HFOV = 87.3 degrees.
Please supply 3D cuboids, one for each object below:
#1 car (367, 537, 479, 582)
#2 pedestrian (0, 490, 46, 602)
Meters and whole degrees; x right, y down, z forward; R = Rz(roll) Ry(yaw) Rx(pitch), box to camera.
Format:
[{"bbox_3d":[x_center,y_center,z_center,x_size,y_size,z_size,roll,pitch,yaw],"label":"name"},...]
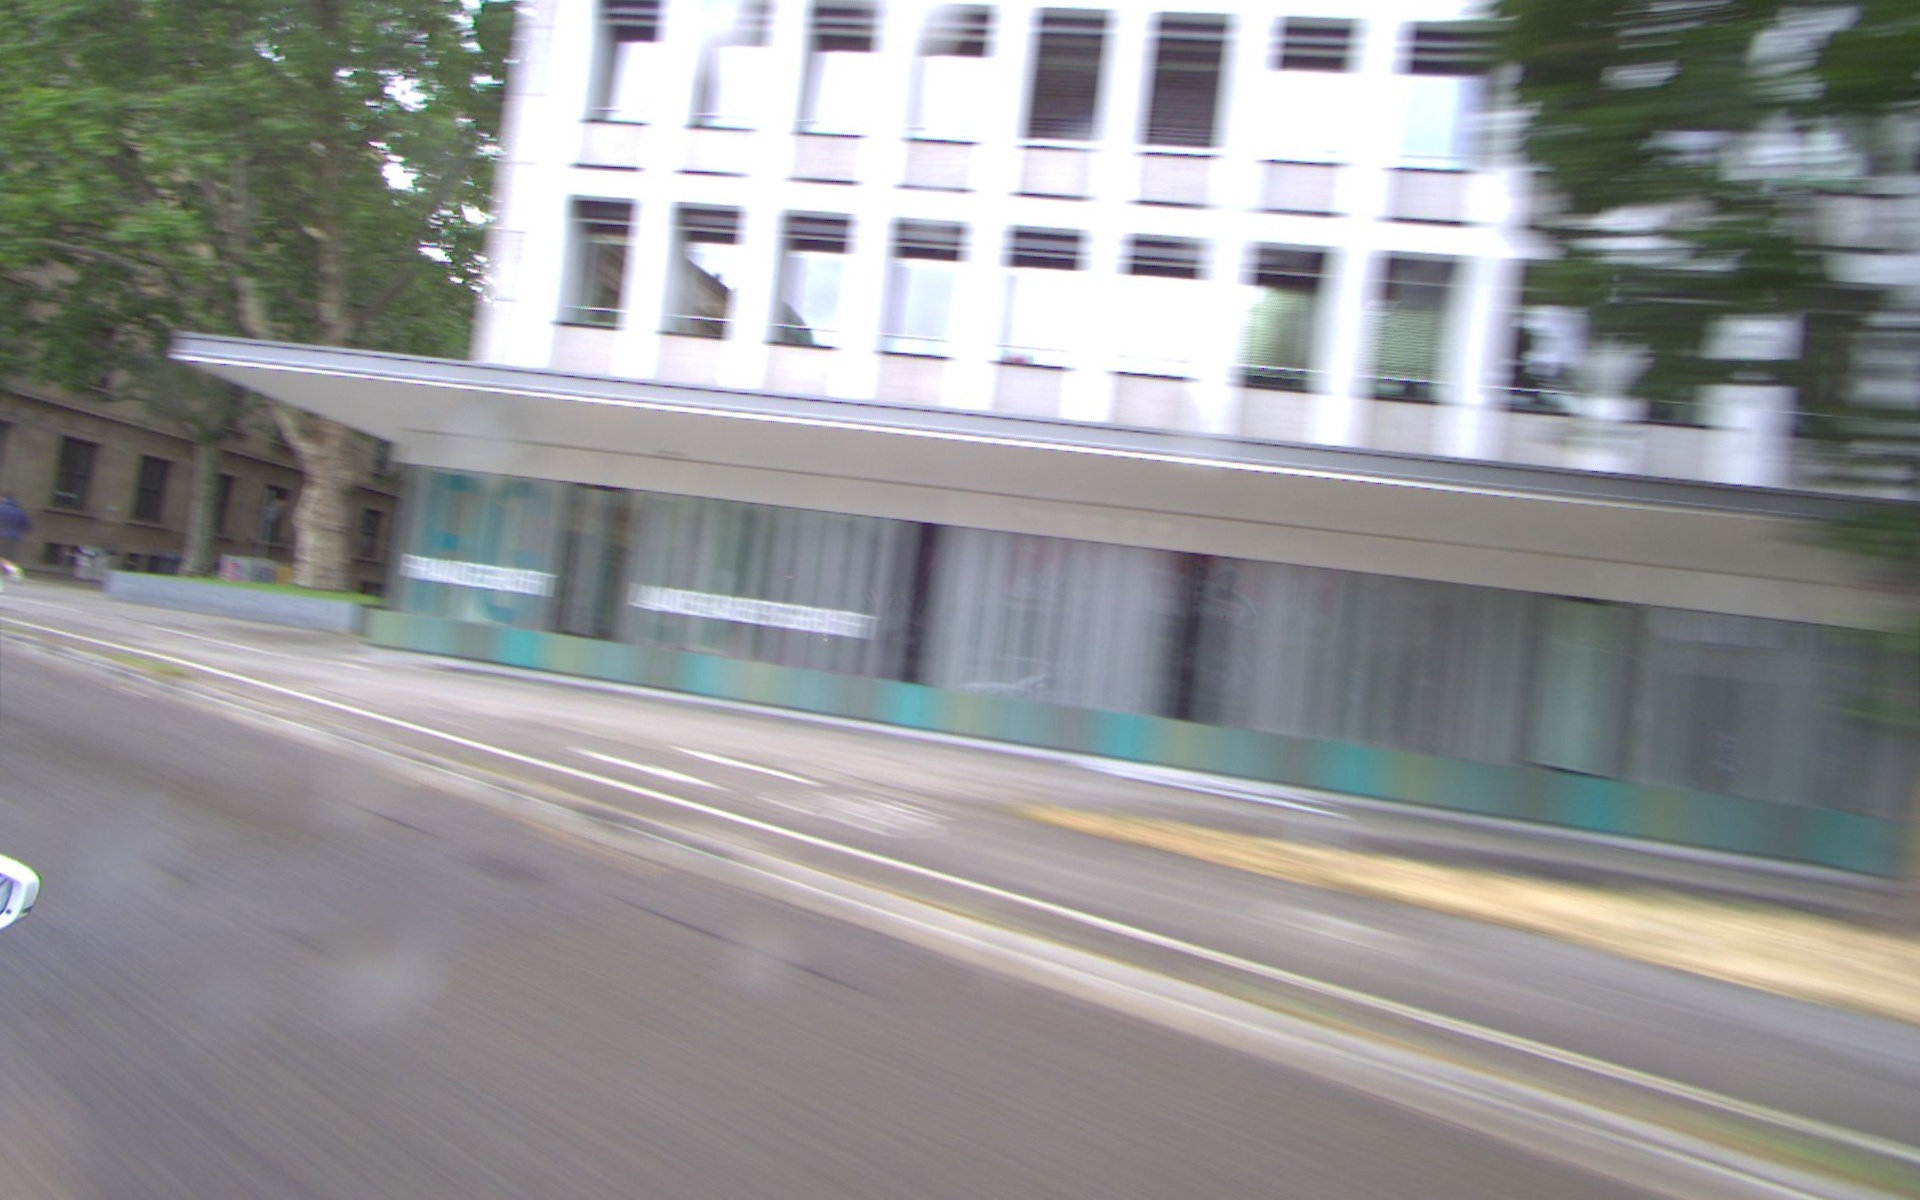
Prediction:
[{"bbox_3d":[-26.681,-2.007,50.046,4.458,1.481,1.889,9,0,3],"label":"car"},{"bbox_3d":[-16.142,-0.936,16.863,0.847,1.792,0.782,7,-2,27],"label":"pedestrian"}]
